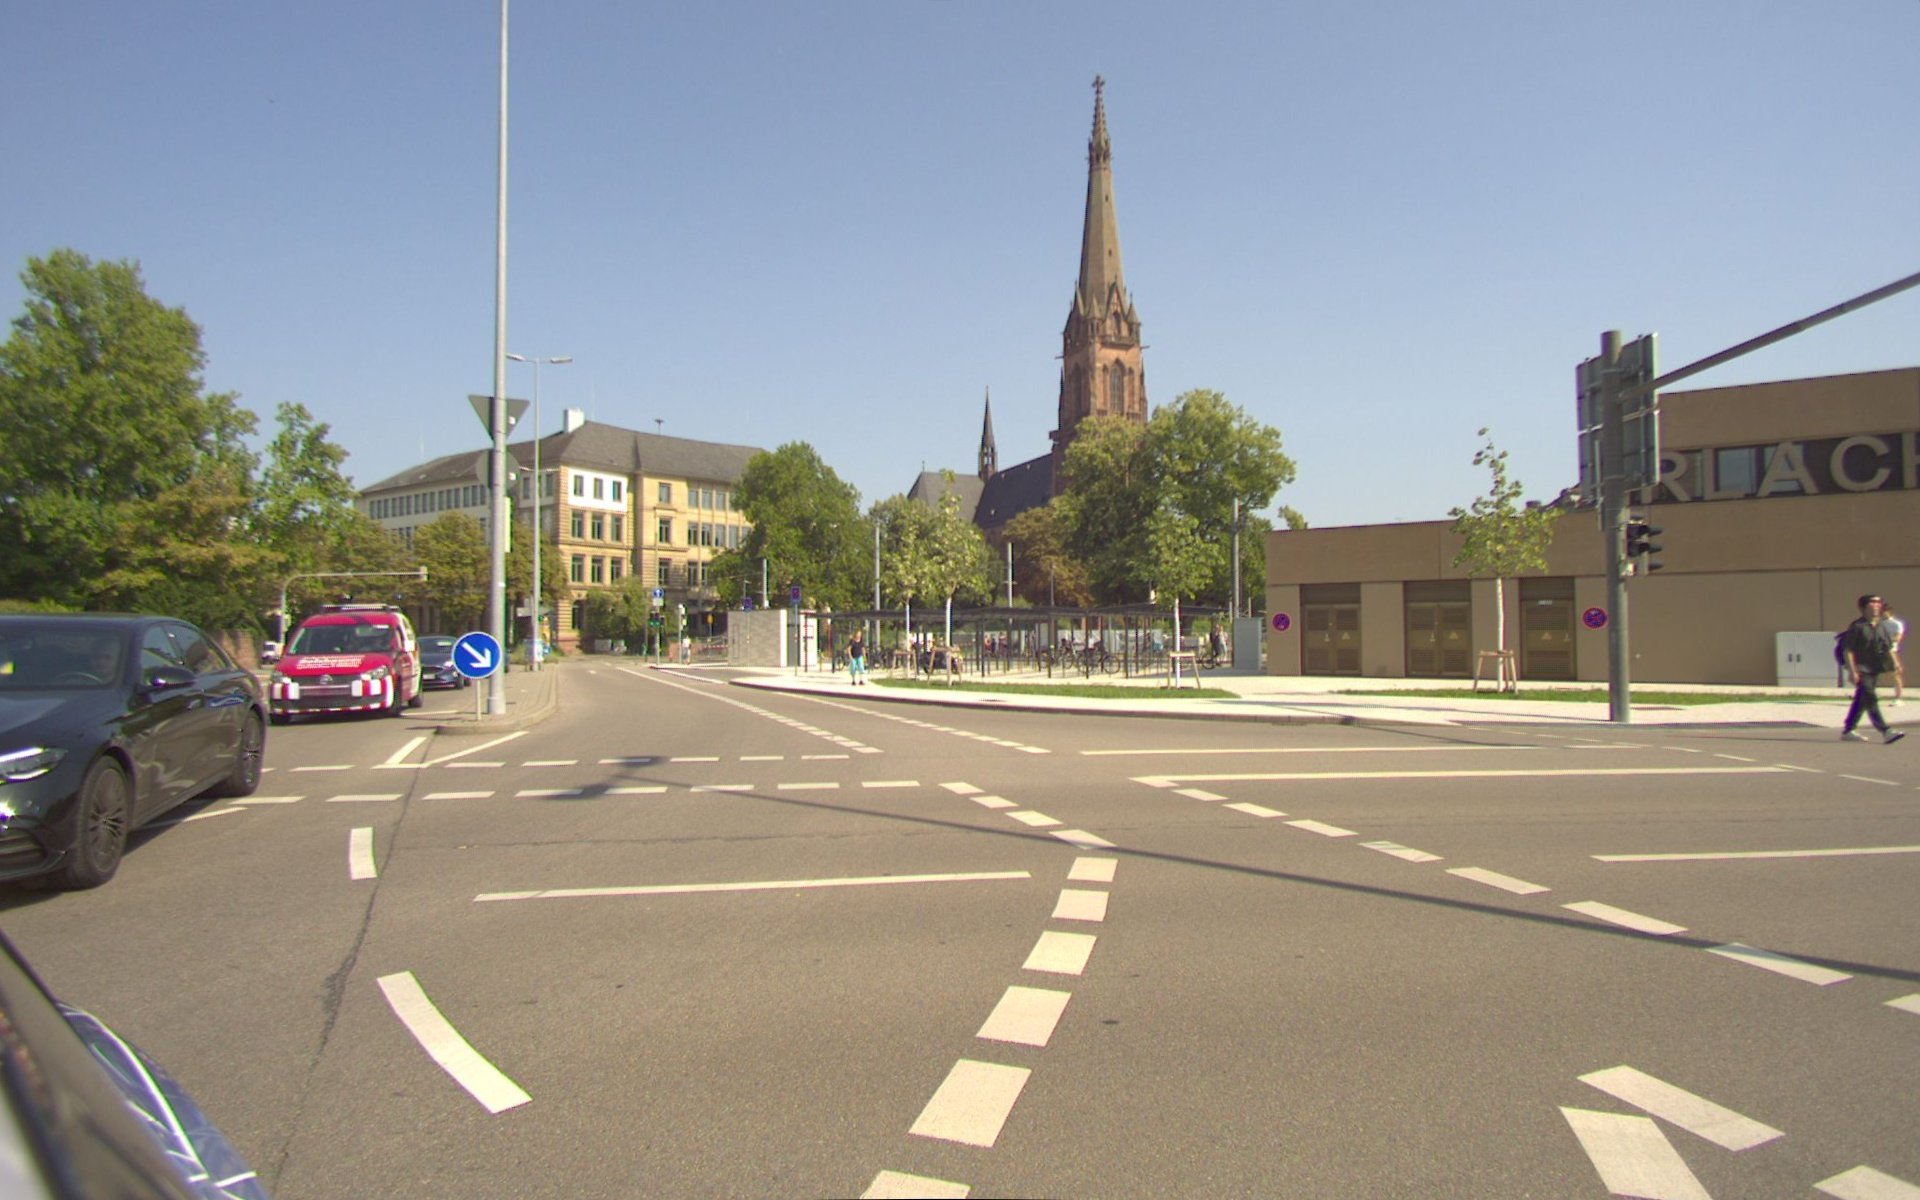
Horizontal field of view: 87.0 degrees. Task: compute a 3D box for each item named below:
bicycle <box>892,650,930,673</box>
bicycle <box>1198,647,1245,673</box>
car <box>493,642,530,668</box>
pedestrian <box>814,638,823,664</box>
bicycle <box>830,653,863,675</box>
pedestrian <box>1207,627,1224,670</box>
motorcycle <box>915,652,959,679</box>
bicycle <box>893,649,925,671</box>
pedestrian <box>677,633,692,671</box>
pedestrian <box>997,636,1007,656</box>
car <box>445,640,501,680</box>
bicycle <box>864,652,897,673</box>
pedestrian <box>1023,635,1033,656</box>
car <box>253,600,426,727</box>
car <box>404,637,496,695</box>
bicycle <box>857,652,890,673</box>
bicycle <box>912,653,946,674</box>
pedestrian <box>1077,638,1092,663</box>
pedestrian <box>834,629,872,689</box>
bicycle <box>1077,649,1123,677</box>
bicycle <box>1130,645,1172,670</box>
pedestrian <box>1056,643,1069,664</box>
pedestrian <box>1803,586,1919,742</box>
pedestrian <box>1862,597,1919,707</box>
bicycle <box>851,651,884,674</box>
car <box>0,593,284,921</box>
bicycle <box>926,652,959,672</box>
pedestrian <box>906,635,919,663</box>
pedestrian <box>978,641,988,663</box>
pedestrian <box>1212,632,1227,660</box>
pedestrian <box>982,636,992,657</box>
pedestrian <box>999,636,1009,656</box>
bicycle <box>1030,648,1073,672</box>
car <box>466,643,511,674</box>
[{"bbox_3d":[-2.156,2.701,44.716,1.709,0.994,0.527,-2,-3,35],"label":"bicycle"},{"bbox_3d":[10.507,2.398,40.692,1.739,1.028,0.468,-2,-3,33],"label":"bicycle"},{"bbox_3d":[-28.797,3.493,65.074,1.965,1.564,4.013,1,-2,-21],"label":"car"},{"bbox_3d":[-9.484,3.439,67.949,0.512,1.720,0.503,0,-2,2],"label":"pedestrian"},{"bbox_3d":[-4.910,2.751,43.697,1.584,0.899,0.396,-2,-3,35],"label":"bicycle"},{"bbox_3d":[10.929,2.071,43.327,0.590,1.815,0.330,-2,-3,30],"label":"pedestrian"},{"bbox_3d":[-0.905,2.543,39.500,1.741,1.017,0.537,-2,-3,35],"label":"motorcycle"},{"bbox_3d":[-2.404,2.825,47.738,1.584,0.985,0.447,-2,-2,35],"label":"bicycle"},{"bbox_3d":[-15.081,2.838,55.348,0.721,2.029,0.715,0,-3,-10],"label":"pedestrian"},{"bbox_3d":[2.615,2.849,63.204,0.382,1.233,0.434,-4,-2,35],"label":"pedestrian"},{"bbox_3d":[-18.453,2.248,38.448,1.691,1.444,3.872,1,-3,-23],"label":"car"},{"bbox_3d":[-3.609,2.821,45.677,1.584,0.899,0.405,-2,-3,35],"label":"bicycle"},{"bbox_3d":[4.159,2.771,61.769,0.382,1.233,0.434,-4,-2,35],"label":"pedestrian"},{"bbox_3d":[-10.229,1.039,17.012,1.707,1.833,4.291,1,-3,-21],"label":"car"},{"bbox_3d":[-13.782,1.766,27.542,1.612,1.438,4.335,0,-3,-18],"label":"car"},{"bbox_3d":[-3.865,2.787,45.233,1.584,0.899,0.396,-2,-3,35],"label":"bicycle"},{"bbox_3d":[-1.391,2.835,45.330,1.584,0.899,0.405,-2,-3,35],"label":"bicycle"},{"bbox_3d":[7.103,2.868,57.670,0.642,1.405,0.655,-2,-3,32],"label":"pedestrian"},{"bbox_3d":[-2.897,1.592,27.307,0.742,1.577,0.668,4,-4,-39],"label":"pedestrian"},{"bbox_3d":[5.289,2.382,38.370,1.741,1.017,0.396,-2,-3,35],"label":"bicycle"},{"bbox_3d":[8.029,2.428,42.619,1.741,1.017,0.396,-2,-3,35],"label":"bicycle"},{"bbox_3d":[5.940,3.078,58.732,0.573,1.206,0.462,-2,-3,35],"label":"pedestrian"},{"bbox_3d":[11.342,0.777,12.572,0.718,1.854,1.084,0,-2,-6],"label":"pedestrian"},{"bbox_3d":[16.136,0.883,17.382,0.561,1.847,0.697,0,-2,-14],"label":"pedestrian"},{"bbox_3d":[-4.088,2.752,44.683,1.584,0.975,0.417,-2,-3,35],"label":"bicycle"},{"bbox_3d":[-5.959,0.767,6.445,1.794,1.451,4.889,1,-2,-22],"label":"car"},{"bbox_3d":[-0.827,2.835,46.631,1.584,0.899,0.405,-2,-3,35],"label":"bicycle"},{"bbox_3d":[-3.013,3.094,64.449,0.704,1.762,0.390,1,-3,-24],"label":"pedestrian"},{"bbox_3d":[1.403,3.172,62.157,0.414,1.328,0.388,-4,-2,39],"label":"pedestrian"},{"bbox_3d":[13.806,2.434,53.809,0.567,1.432,0.464,-4,-2,35],"label":"pedestrian"},{"bbox_3d":[1.694,2.882,62.873,0.382,1.233,0.434,-4,-2,35],"label":"pedestrian"},{"bbox_3d":[2.732,2.838,62.524,0.382,1.233,0.434,-4,-2,35],"label":"pedestrian"},{"bbox_3d":[3.944,2.585,43.612,1.870,1.017,0.456,-2,-3,35],"label":"bicycle"},{"bbox_3d":[-21.341,2.627,45.918,1.580,1.339,4.347,0,-2,-21],"label":"car"}]
